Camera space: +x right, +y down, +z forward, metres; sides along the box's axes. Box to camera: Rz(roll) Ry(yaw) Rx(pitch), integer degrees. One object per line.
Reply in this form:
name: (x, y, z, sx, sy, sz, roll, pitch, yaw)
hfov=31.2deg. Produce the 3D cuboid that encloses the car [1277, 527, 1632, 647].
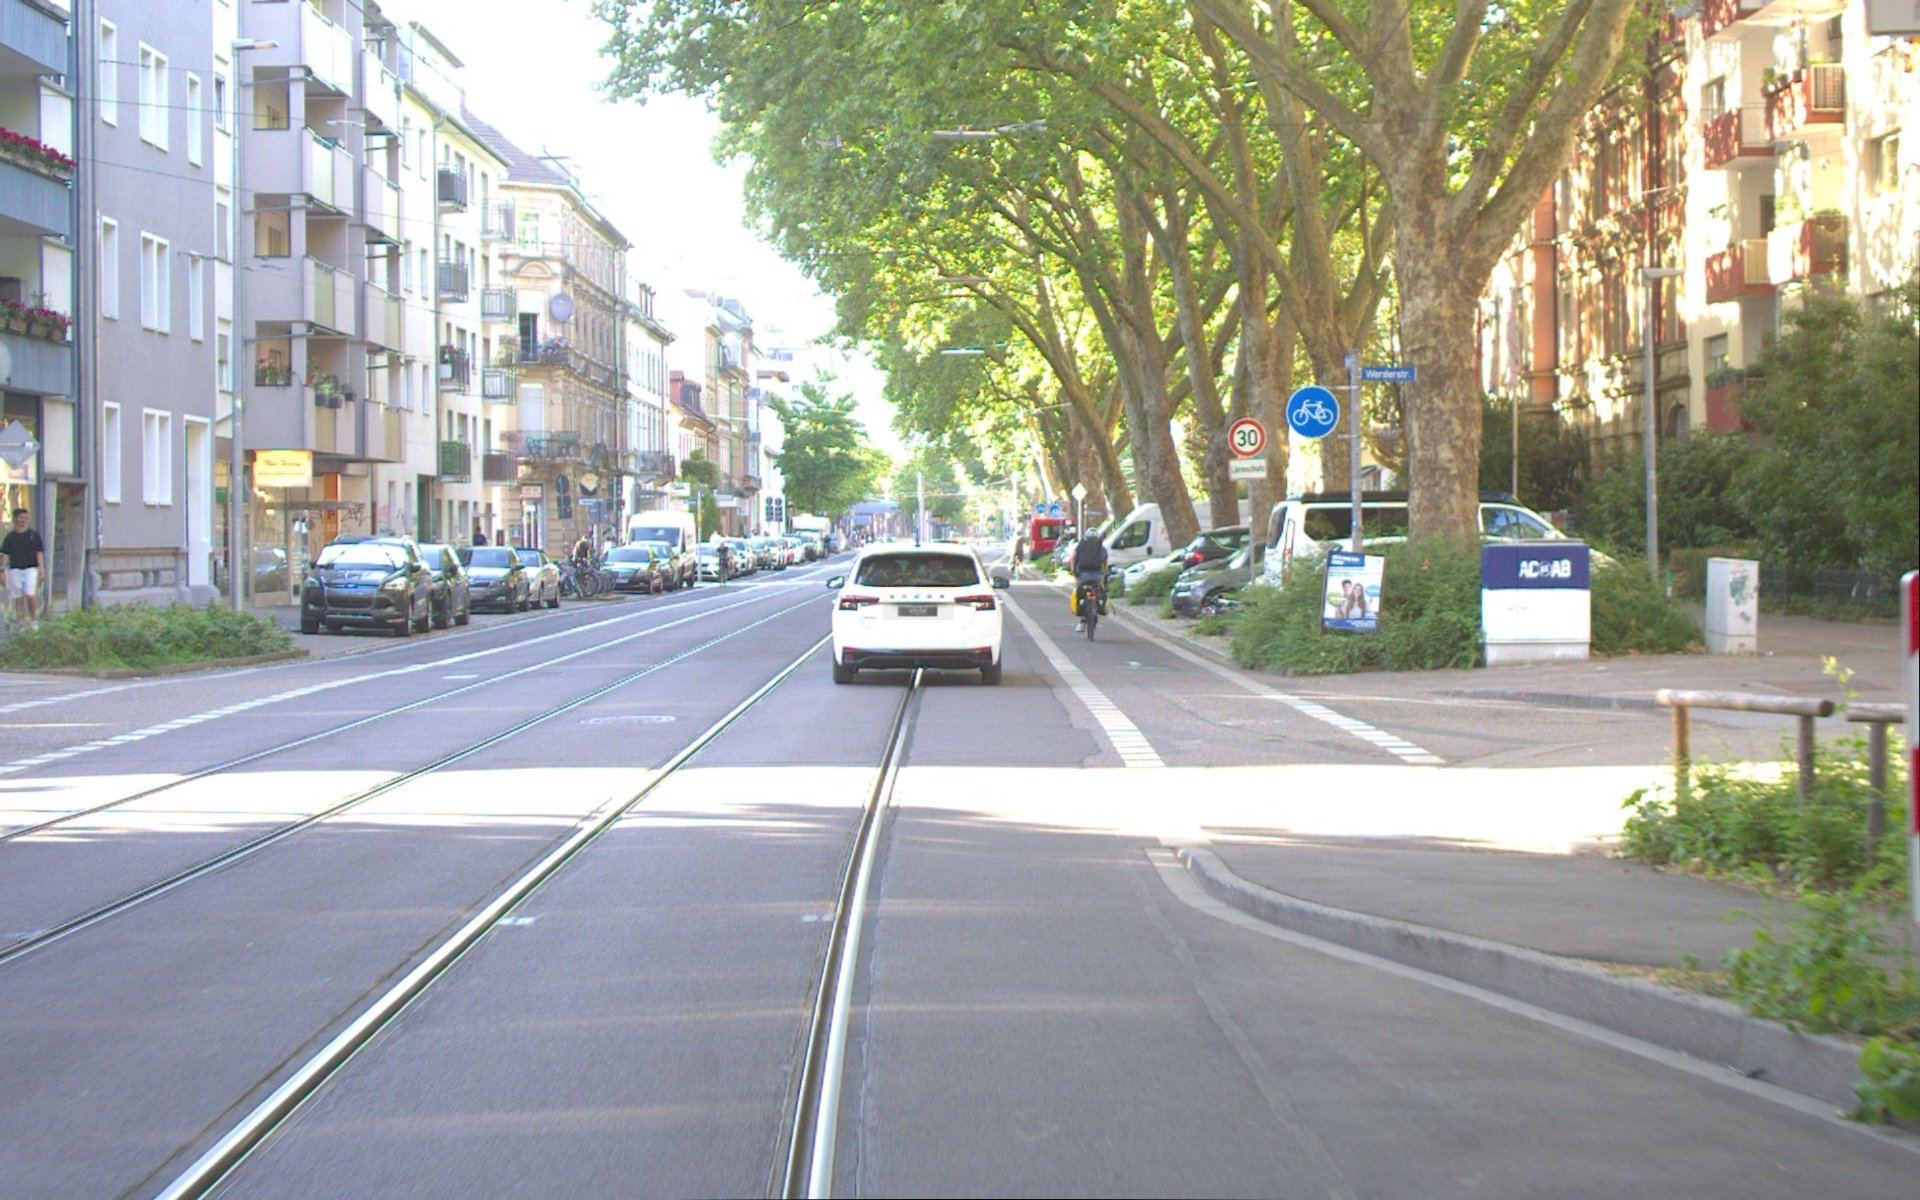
car: (6.341, -0.187, 44.406, 4.297, 1.474, 1.831, -1, 1, -1)

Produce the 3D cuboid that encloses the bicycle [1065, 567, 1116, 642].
bicycle: (1.920, 0.058, 50.690, 0.681, 1.067, 1.781, -1, 1, 1)

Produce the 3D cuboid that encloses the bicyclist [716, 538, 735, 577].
bicyclist: (-7.908, -1.431, 115.982, 0.597, 1.281, 0.917, -1, 1, -3)

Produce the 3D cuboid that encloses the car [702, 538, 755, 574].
car: (-10.087, -1.933, 149.964, 1.993, 1.525, 4.000, 0, 1, 0)

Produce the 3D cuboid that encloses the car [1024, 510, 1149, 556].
car: (6.332, -3.376, 172.739, 6.130, 2.274, 2.529, 0, 1, -2)

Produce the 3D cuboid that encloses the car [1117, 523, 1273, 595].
car: (5.559, -0.992, 81.724, 3.634, 1.660, 1.822, 0, 1, 3)

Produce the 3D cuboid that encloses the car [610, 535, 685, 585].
car: (-9.955, -1.293, 109.730, 1.993, 1.525, 4.000, 0, 1, 0)

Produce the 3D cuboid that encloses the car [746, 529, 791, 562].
car: (-9.565, -2.712, 171.990, 1.993, 1.634, 4.000, 1, 1, 0)

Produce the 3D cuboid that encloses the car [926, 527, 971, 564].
car: (-0.468, -2.230, 140.088, 1.761, 1.470, 4.000, -1, 1, 0)

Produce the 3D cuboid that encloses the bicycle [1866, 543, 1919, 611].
bicycle: (15.312, -0.391, 54.327, 1.791, 1.038, 0.618, -2, 1, -4)

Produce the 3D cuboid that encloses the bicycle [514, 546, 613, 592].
bicycle: (-10.605, -0.825, 91.925, 2.525, 1.168, 0.883, 2, -1, -39)

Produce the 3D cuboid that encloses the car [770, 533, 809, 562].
car: (-9.807, -2.997, 197.821, 1.993, 1.634, 4.000, 1, 1, 0)

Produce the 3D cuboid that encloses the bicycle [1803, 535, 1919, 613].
bicycle: (14.397, -0.414, 54.399, 1.944, 1.153, 0.572, -2, 1, -7)

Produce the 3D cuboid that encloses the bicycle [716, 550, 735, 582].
bicycle: (-7.899, -1.160, 115.934, 0.605, 1.067, 1.583, -1, 1, -3)

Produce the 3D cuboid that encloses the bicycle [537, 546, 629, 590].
bicycle: (-10.589, -0.904, 96.585, 2.524, 1.168, 0.719, 1, -1, -6)

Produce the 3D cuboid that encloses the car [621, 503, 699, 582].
car: (-10.069, -1.935, 115.665, 2.178, 2.588, 4.949, 0, 1, 0)

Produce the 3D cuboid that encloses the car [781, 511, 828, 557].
car: (-10.769, -4.568, 238.546, 2.968, 3.145, 5.847, 1, 1, 0)

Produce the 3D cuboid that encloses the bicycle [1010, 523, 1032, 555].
bicycle: (2.062, -2.053, 116.320, 0.649, 1.067, 1.583, -1, 1, -2)

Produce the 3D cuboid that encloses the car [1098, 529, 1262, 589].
car: (5.813, -1.087, 91.143, 4.048, 1.535, 2.000, -1, 1, -5)

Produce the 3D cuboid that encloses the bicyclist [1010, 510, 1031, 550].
bicyclist: (2.052, -2.365, 116.326, 0.649, 1.339, 0.934, -1, 1, -2)

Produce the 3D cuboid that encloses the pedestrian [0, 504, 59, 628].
pedestrian: (-13.874, -0.512, 51.206, 0.663, 1.820, 0.965, 0, 1, -2)

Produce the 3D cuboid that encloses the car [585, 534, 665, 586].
car: (-10.103, -1.225, 103.949, 1.993, 1.525, 4.000, 0, 1, 0)

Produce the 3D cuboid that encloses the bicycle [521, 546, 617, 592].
bicycle: (-10.545, -0.837, 92.807, 2.524, 1.168, 0.719, 1, -1, -6)

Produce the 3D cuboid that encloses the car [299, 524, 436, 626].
car: (-10.153, -0.458, 59.144, 1.702, 1.645, 4.242, 2, 1, -2)

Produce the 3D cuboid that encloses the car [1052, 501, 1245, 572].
car: (6.136, -2.080, 112.582, 6.130, 2.274, 2.529, 0, 1, -2)

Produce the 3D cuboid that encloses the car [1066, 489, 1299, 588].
car: (6.044, -1.677, 93.965, 6.130, 2.626, 2.529, 0, 1, -2)

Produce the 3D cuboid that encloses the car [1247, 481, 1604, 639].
car: (6.320, -0.556, 46.978, 4.543, 2.069, 2.001, -1, 1, -2)

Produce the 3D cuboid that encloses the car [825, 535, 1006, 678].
car: (-0.431, 0.030, 35.824, 1.761, 1.379, 4.000, -1, 1, 0)

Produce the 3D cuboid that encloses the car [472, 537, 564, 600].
car: (-10.233, -0.748, 79.736, 1.485, 1.398, 3.990, 0, 1, 2)

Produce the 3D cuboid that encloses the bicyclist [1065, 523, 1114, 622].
bicyclist: (1.913, -0.406, 50.808, 0.678, 1.438, 1.047, -1, 1, 1)

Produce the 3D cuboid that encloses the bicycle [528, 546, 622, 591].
bicycle: (-10.588, -0.875, 94.681, 2.524, 1.168, 0.719, 1, -1, -5)

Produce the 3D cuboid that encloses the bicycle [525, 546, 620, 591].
bicycle: (-10.561, -0.854, 93.693, 2.524, 1.168, 0.719, 1, -1, -5)

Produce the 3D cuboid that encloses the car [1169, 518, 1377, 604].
car: (6.273, -0.795, 69.107, 3.987, 1.674, 1.723, -1, 1, -1)

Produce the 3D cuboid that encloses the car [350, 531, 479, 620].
car: (-10.136, -0.480, 64.129, 1.702, 1.539, 4.242, 2, 1, 0)

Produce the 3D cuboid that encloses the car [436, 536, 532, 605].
car: (-10.321, -0.655, 74.666, 1.653, 1.432, 3.837, 0, 1, -2)

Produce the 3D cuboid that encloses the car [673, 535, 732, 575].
car: (-10.172, -1.782, 136.001, 1.993, 1.525, 4.000, 0, 1, 0)

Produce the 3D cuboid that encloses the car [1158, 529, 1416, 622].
car: (5.506, -0.430, 58.200, 4.142, 1.509, 1.931, -1, 1, -1)
